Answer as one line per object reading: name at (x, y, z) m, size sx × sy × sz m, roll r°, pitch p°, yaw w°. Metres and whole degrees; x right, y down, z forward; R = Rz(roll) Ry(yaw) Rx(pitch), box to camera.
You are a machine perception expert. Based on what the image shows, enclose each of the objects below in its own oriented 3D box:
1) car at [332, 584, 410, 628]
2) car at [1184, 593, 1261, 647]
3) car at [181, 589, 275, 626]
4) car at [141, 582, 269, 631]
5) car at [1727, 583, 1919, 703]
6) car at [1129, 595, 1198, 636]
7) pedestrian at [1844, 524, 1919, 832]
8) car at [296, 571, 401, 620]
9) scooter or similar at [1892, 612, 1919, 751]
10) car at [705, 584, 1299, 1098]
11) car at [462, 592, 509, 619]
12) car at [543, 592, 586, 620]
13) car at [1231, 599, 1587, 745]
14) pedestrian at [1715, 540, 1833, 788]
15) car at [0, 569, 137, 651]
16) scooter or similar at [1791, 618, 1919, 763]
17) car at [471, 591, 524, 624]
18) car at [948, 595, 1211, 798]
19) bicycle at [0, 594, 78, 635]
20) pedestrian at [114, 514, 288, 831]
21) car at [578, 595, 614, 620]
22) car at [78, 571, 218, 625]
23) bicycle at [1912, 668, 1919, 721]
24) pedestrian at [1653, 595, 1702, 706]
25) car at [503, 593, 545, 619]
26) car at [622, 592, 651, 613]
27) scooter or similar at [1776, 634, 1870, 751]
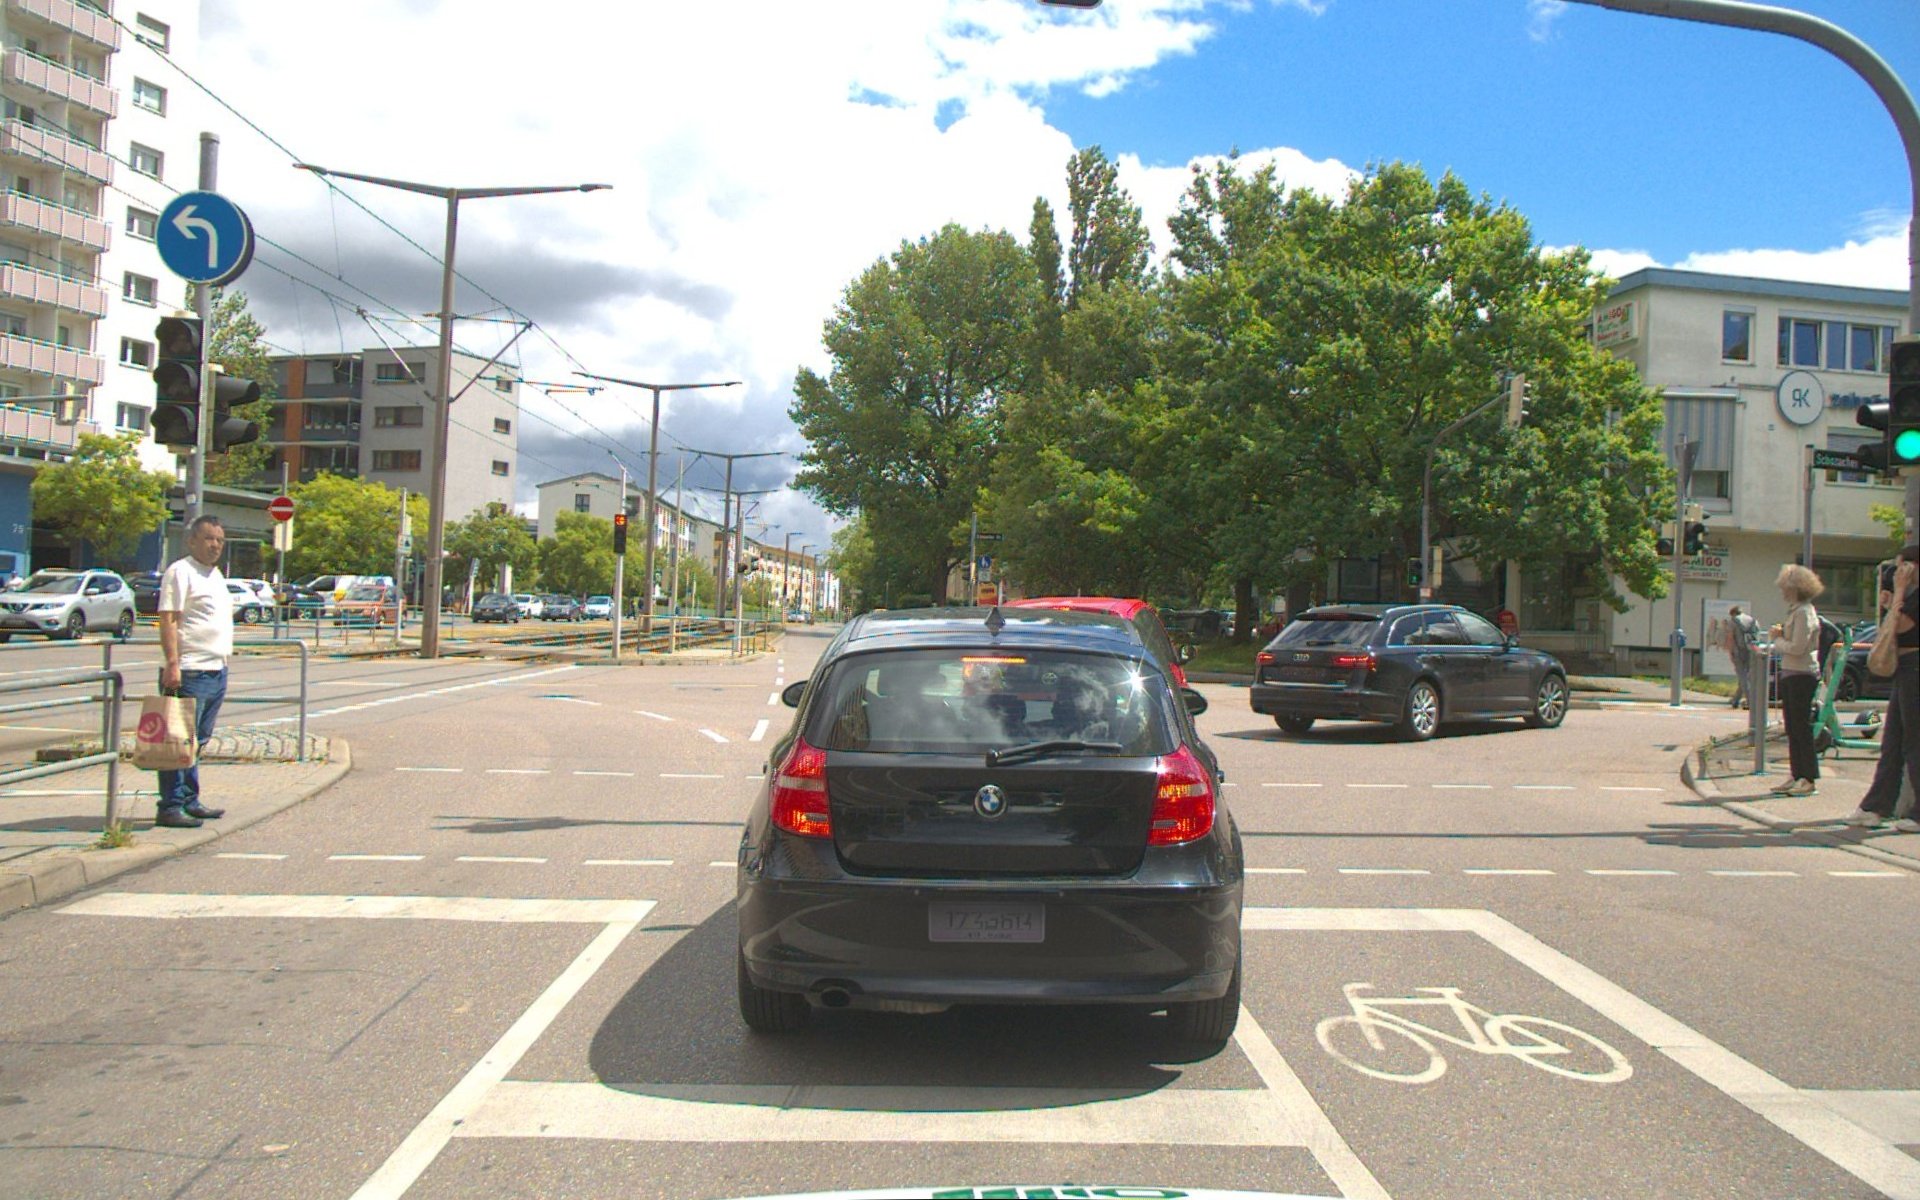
car at (-22.161, 0.211, 62.338) m, size 1.618 × 1.561 × 3.870 m, roll 1°, pitch 0°, yaw -1°
car at (9.736, 0.702, 61.658) m, size 1.694 × 1.904 × 3.992 m, roll 1°, pitch 0°, yaw -9°
car at (-27.661, 0.277, 62.488) m, size 3.066 × 1.303 × 1.453 m, roll 1°, pitch 0°, yaw -32°
car at (-27.185, 0.238, 59.645) m, size 1.629 × 1.676 × 3.897 m, roll 2°, pitch 1°, yaw 44°
car at (16.665, 0.773, 30.166) m, size 4.449 × 2.049 × 1.997 m, roll 2°, pitch 0°, yaw -7°
car at (8.882, 0.659, 72.452) m, size 1.829 × 1.691 × 3.990 m, roll 1°, pitch 0°, yaw -11°
pedestrian at (6.088, 0.486, 10.538) m, size 0.622 × 1.909 × 0.518 m, roll 1°, pitch 0°, yaw 6°
car at (-26.230, -0.183, 71.027) m, size 3.891 × 2.009 × 1.631 m, roll 1°, pitch 1°, yaw -43°
scooter or similar at (9.604, 0.793, 15.715) m, size 1.127 × 1.294 × 0.555 m, roll 2°, pitch 0°, yaw 2°
car at (0.122, 0.671, 6.414) m, size 1.665 × 1.424 × 3.420 m, roll 1°, pitch 1°, yaw 0°
car at (-26.869, 0.298, 93.744) m, size 1.559 × 1.500 × 3.774 m, roll 1°, pitch 0°, yaw -1°
car at (-23.091, 0.326, 96.702) m, size 1.618 × 1.561 × 3.870 m, roll 1°, pitch 0°, yaw -1°
car at (5.282, 0.750, 19.145) m, size 4.501 × 1.447 × 1.877 m, roll 1°, pitch 1°, yaw -43°
pedestrian at (6.070, 0.462, 12.356) m, size 0.622 × 1.797 × 0.518 m, roll 1°, pitch 0°, yaw 6°
car at (-20.899, 0.206, 38.560) m, size 1.559 × 1.787 × 3.774 m, roll 1°, pitch 0°, yaw -1°
scooter or similar at (8.213, 0.811, 14.981) m, size 1.086 × 1.256 × 0.540 m, roll 1°, pitch 0°, yaw 2°
car at (-23.113, 0.343, 82.831) m, size 1.618 × 1.561 × 3.870 m, roll 1°, pitch 0°, yaw -1°
car at (1.116, 0.692, 13.843) m, size 1.603 × 1.424 × 3.423 m, roll 1°, pitch 1°, yaw 14°
bicycle at (-25.031, 0.375, 44.198) m, size 2.527 × 1.026 × 0.749 m, roll 3°, pitch -2°, yaw -28°
pedestrian at (-4.379, 0.400, 9.579) m, size 0.673 × 1.764 × 0.687 m, roll 0°, pitch 0°, yaw 0°
car at (-24.203, 0.496, 110.092) m, size 1.618 × 1.561 × 3.870 m, roll 1°, pitch 0°, yaw -1°
car at (-26.605, -0.059, 54.216) m, size 3.950 × 1.716 × 1.558 m, roll 1°, pitch 0°, yaw -33°
bicycle at (11.749, 1.150, 19.245) m, size 0.521 × 0.620 × 1.591 m, roll 1°, pitch 1°, yaw 5°
pedestrian at (11.621, 0.822, 26.785) m, size 0.644 × 1.743 × 0.461 m, roll 3°, pitch -1°, yaw 26°
car at (-26.901, 0.353, 102.172) m, size 1.618 × 1.561 × 3.870 m, roll 1°, pitch 0°, yaw -1°
car at (-25.507, 0.175, 130.413) m, size 1.618 × 1.561 × 3.870 m, roll 1°, pitch 0°, yaw -1°
scooter or similar at (8.679, 0.906, 16.668) m, size 0.536 × 1.082 × 1.263 m, roll 1°, pitch 1°, yaw 14°
